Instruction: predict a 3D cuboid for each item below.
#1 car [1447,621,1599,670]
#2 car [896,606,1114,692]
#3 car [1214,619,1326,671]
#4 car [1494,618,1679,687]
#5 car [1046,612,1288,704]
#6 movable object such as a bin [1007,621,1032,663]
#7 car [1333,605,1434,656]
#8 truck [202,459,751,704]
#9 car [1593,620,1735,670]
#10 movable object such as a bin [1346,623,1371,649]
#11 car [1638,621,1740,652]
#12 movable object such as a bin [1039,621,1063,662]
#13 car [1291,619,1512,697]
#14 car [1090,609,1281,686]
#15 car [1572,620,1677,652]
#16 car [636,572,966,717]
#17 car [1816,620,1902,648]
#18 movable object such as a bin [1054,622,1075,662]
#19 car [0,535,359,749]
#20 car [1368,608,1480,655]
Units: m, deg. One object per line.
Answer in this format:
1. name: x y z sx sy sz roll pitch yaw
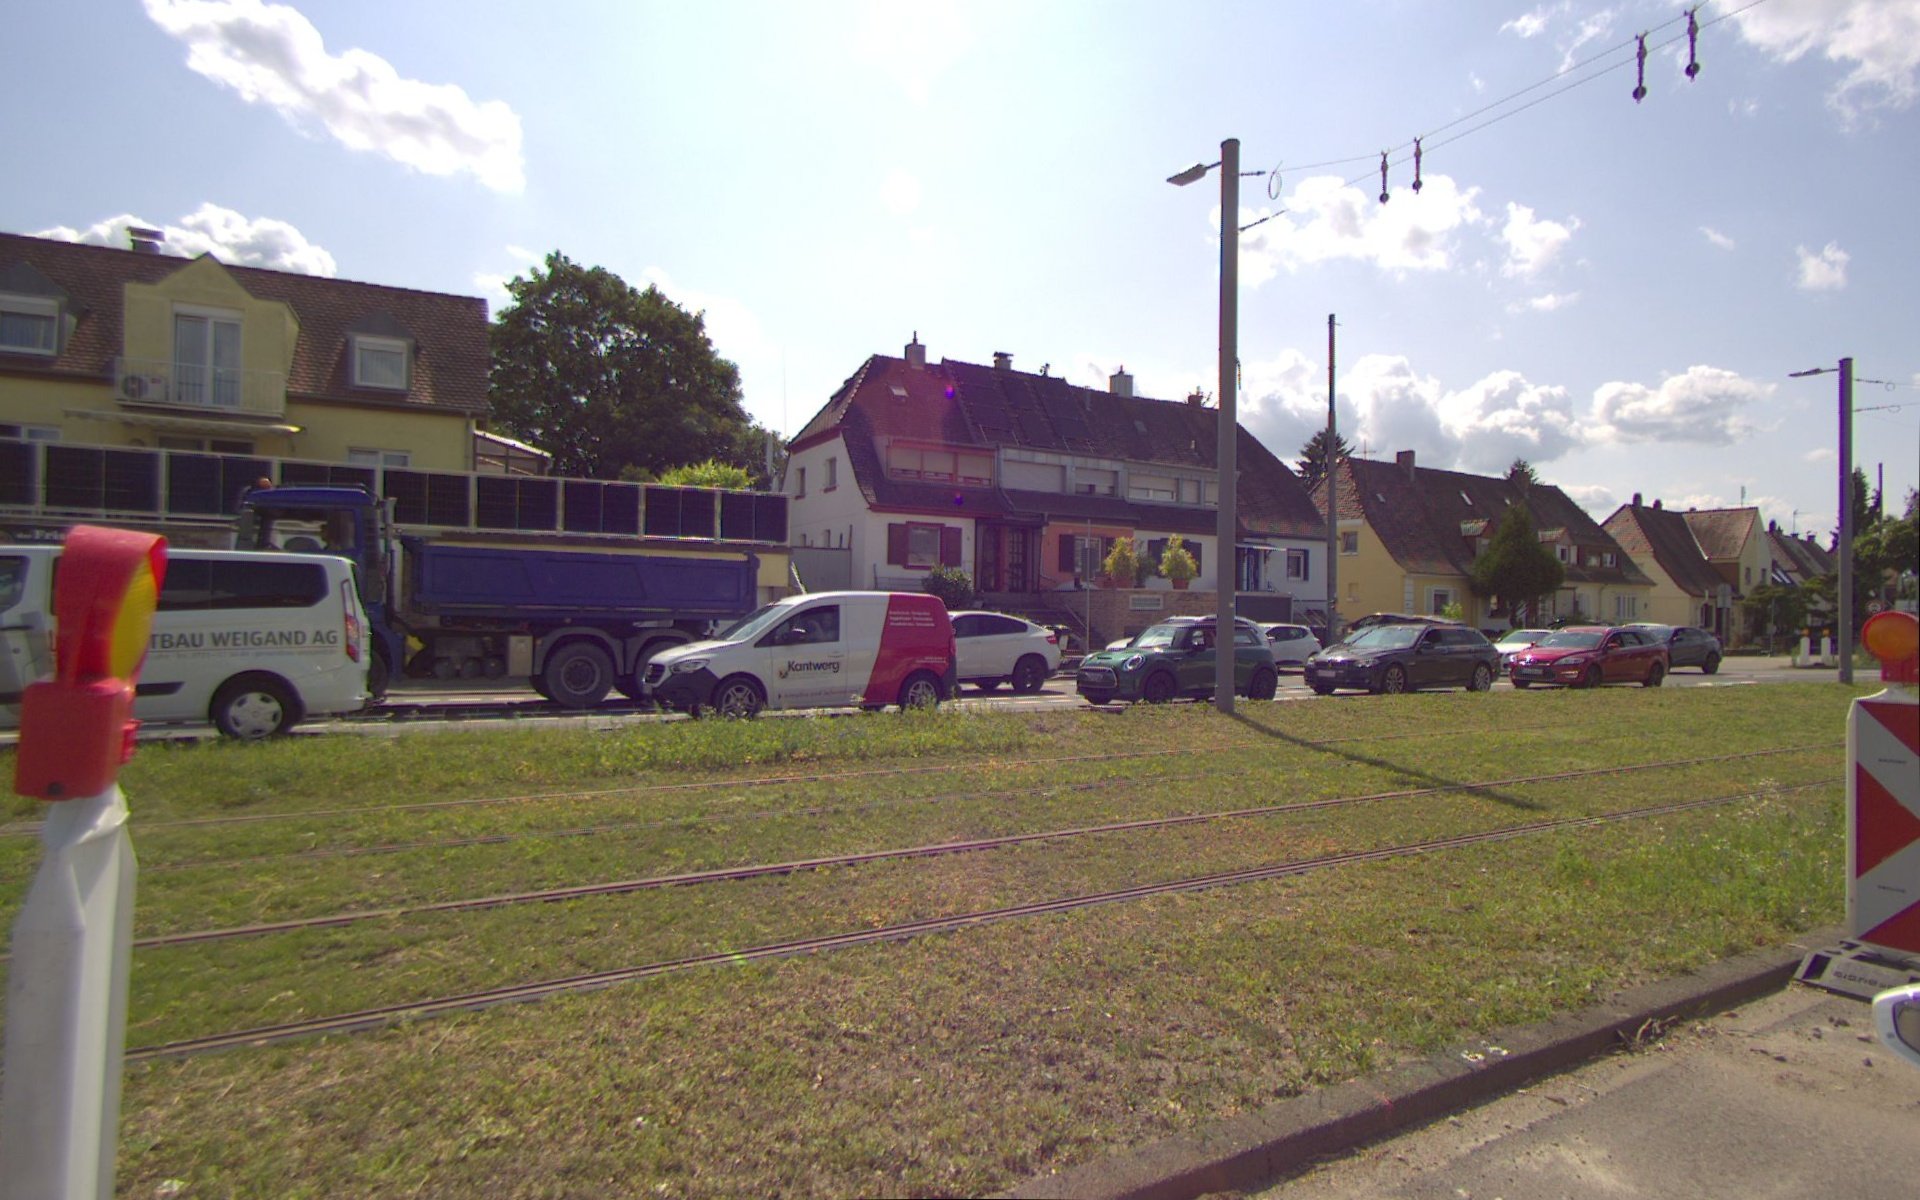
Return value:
1. car: 17.083 1.357 30.416 4.720 1.361 1.835 1 -1 -29
2. car: 0.991 1.014 21.566 4.385 1.681 1.835 1 -1 -30
3. car: 9.251 1.319 29.946 3.051 1.438 1.559 1 -1 -31
4. car: 15.294 1.242 24.458 4.800 1.513 1.834 1 -1 -31
5. car: 3.657 0.966 17.622 3.956 1.437 1.904 1 -1 -32
6. movable object such as a bin: 1.722 1.226 29.324 0.569 1.200 0.442 1 -1 -36
7. car: 16.981 1.197 40.434 1.587 1.616 3.365 1 4 -32
8. truck: -7.510 -0.155 16.437 7.499 3.230 2.753 2 -1 -32
9. car: 23.530 1.481 33.544 4.674 1.555 1.838 1 -1 -26
10. movable object such as a bin: 15.093 1.365 38.049 0.511 0.946 0.677 1 -1 -31
11. car: 38.101 1.862 52.570 1.684 1.417 3.967 1 1 -30
12. movable object such as a bin: 2.729 1.246 30.066 0.569 1.217 0.442 1 -1 -36
13. car: 9.297 1.162 21.032 4.862 1.432 1.833 1 -1 -32
14. car: 5.429 1.105 24.026 4.456 1.691 1.833 1 -1 -32
15. car: 33.929 1.828 51.388 1.968 1.486 4.088 1 -1 -30
16. car: -2.212 0.601 14.413 4.356 1.806 1.723 1 -1 -32
17. car: 62.141 2.303 69.459 2.079 1.800 4.082 1 -1 -34
18. movable object such as a bin: 3.165 1.260 30.385 0.437 1.197 0.442 1 -1 -35
19. car: -8.836 0.394 10.154 4.696 1.947 1.804 1 -1 -32
20. car: 19.314 1.274 41.944 1.587 1.512 3.930 1 4 -32
